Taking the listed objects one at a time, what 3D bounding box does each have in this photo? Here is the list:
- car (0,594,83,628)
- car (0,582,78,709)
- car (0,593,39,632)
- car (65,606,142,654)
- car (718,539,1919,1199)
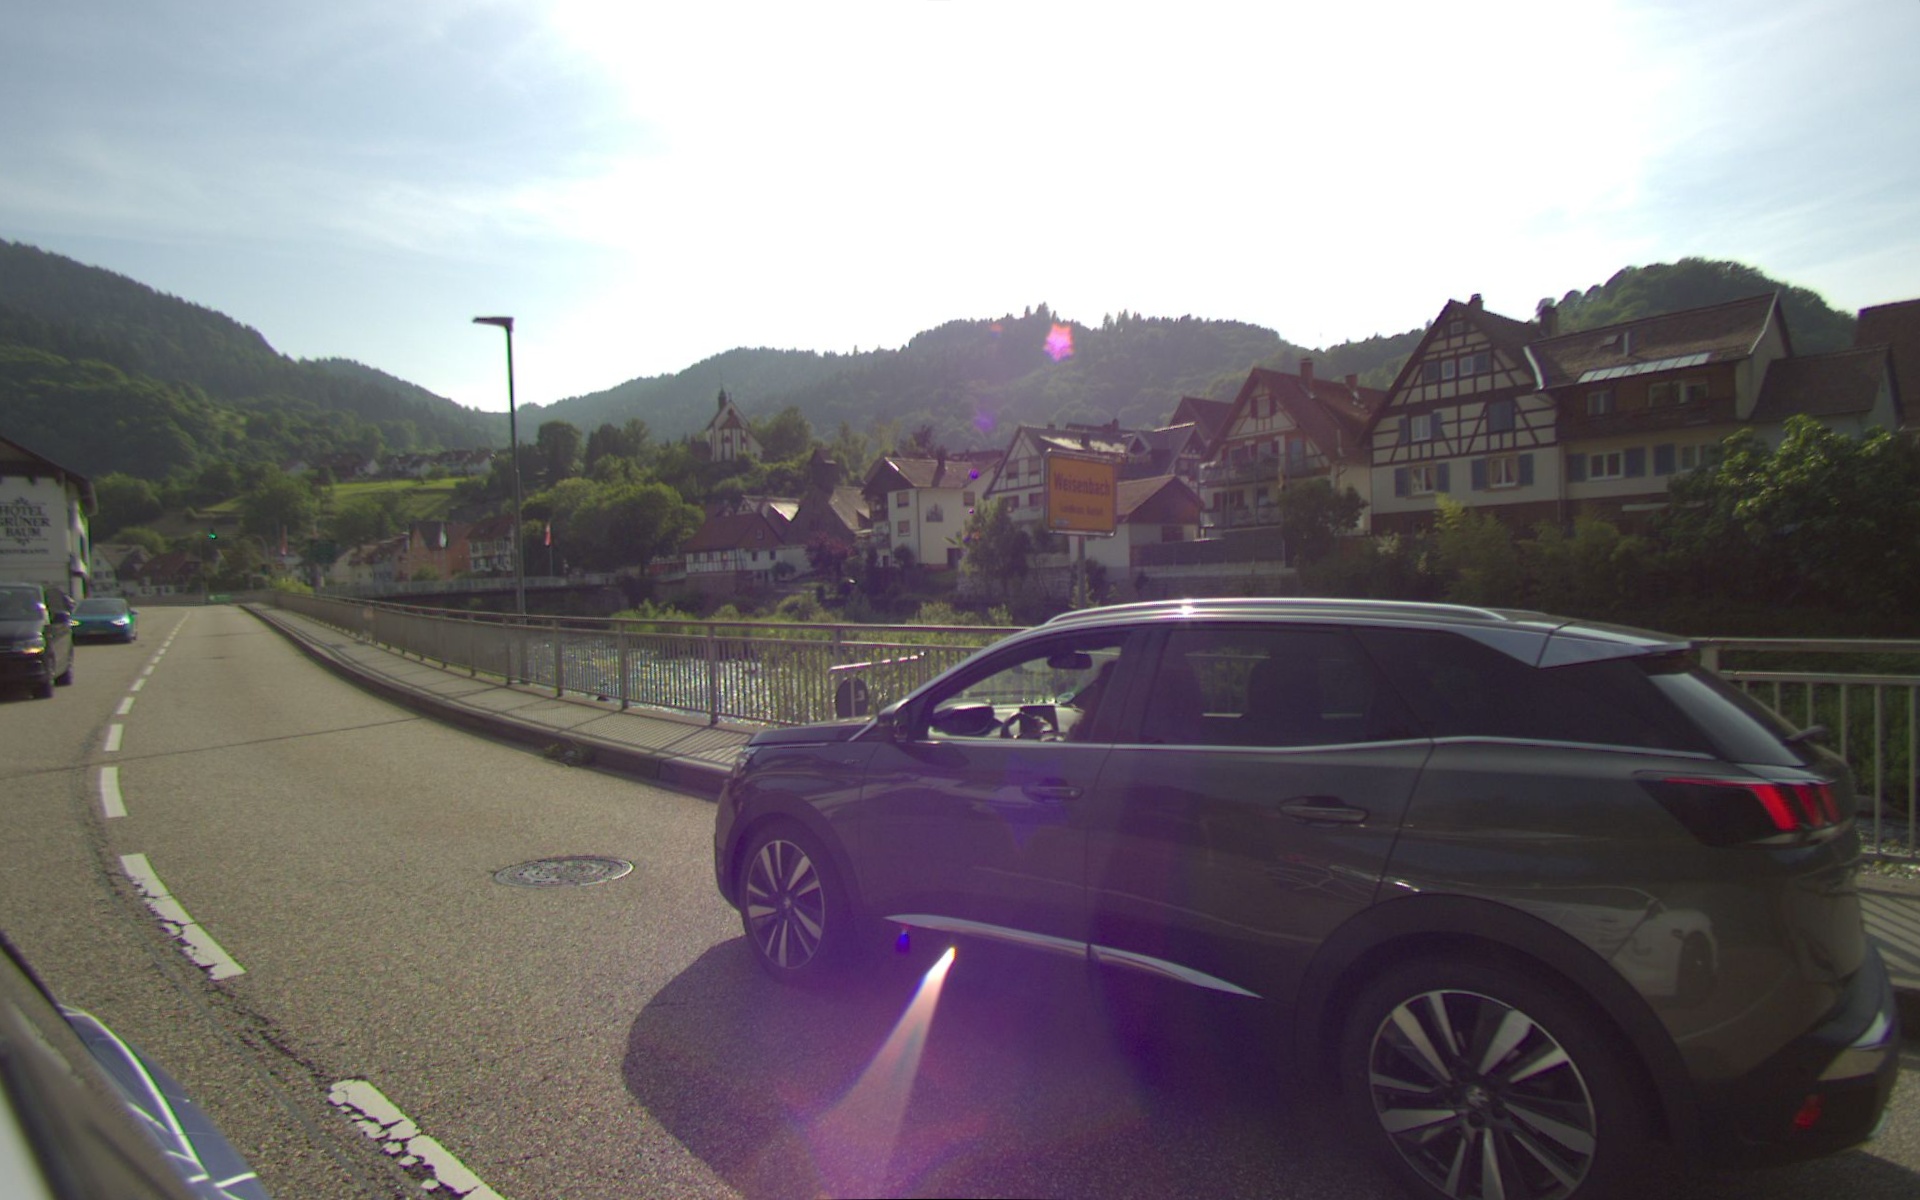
[{"bbox_3d":[-53.093,0.623,58.131,3.933,1.896,1.689,1,-1,-34],"label":"car"},{"bbox_3d":[-16.787,0.720,17.520,1.858,1.979,4.877,0,0,-36],"label":"car"},{"bbox_3d":[-51.241,0.565,52.826,4.383,1.973,1.718,4,-3,-35],"label":"car"},{"bbox_3d":[-29.291,0.986,34.700,1.656,1.533,3.875,0,0,-35],"label":"car"},{"bbox_3d":[1.070,0.786,3.791,3.997,1.656,1.797,-1,-4,40],"label":"car"}]
